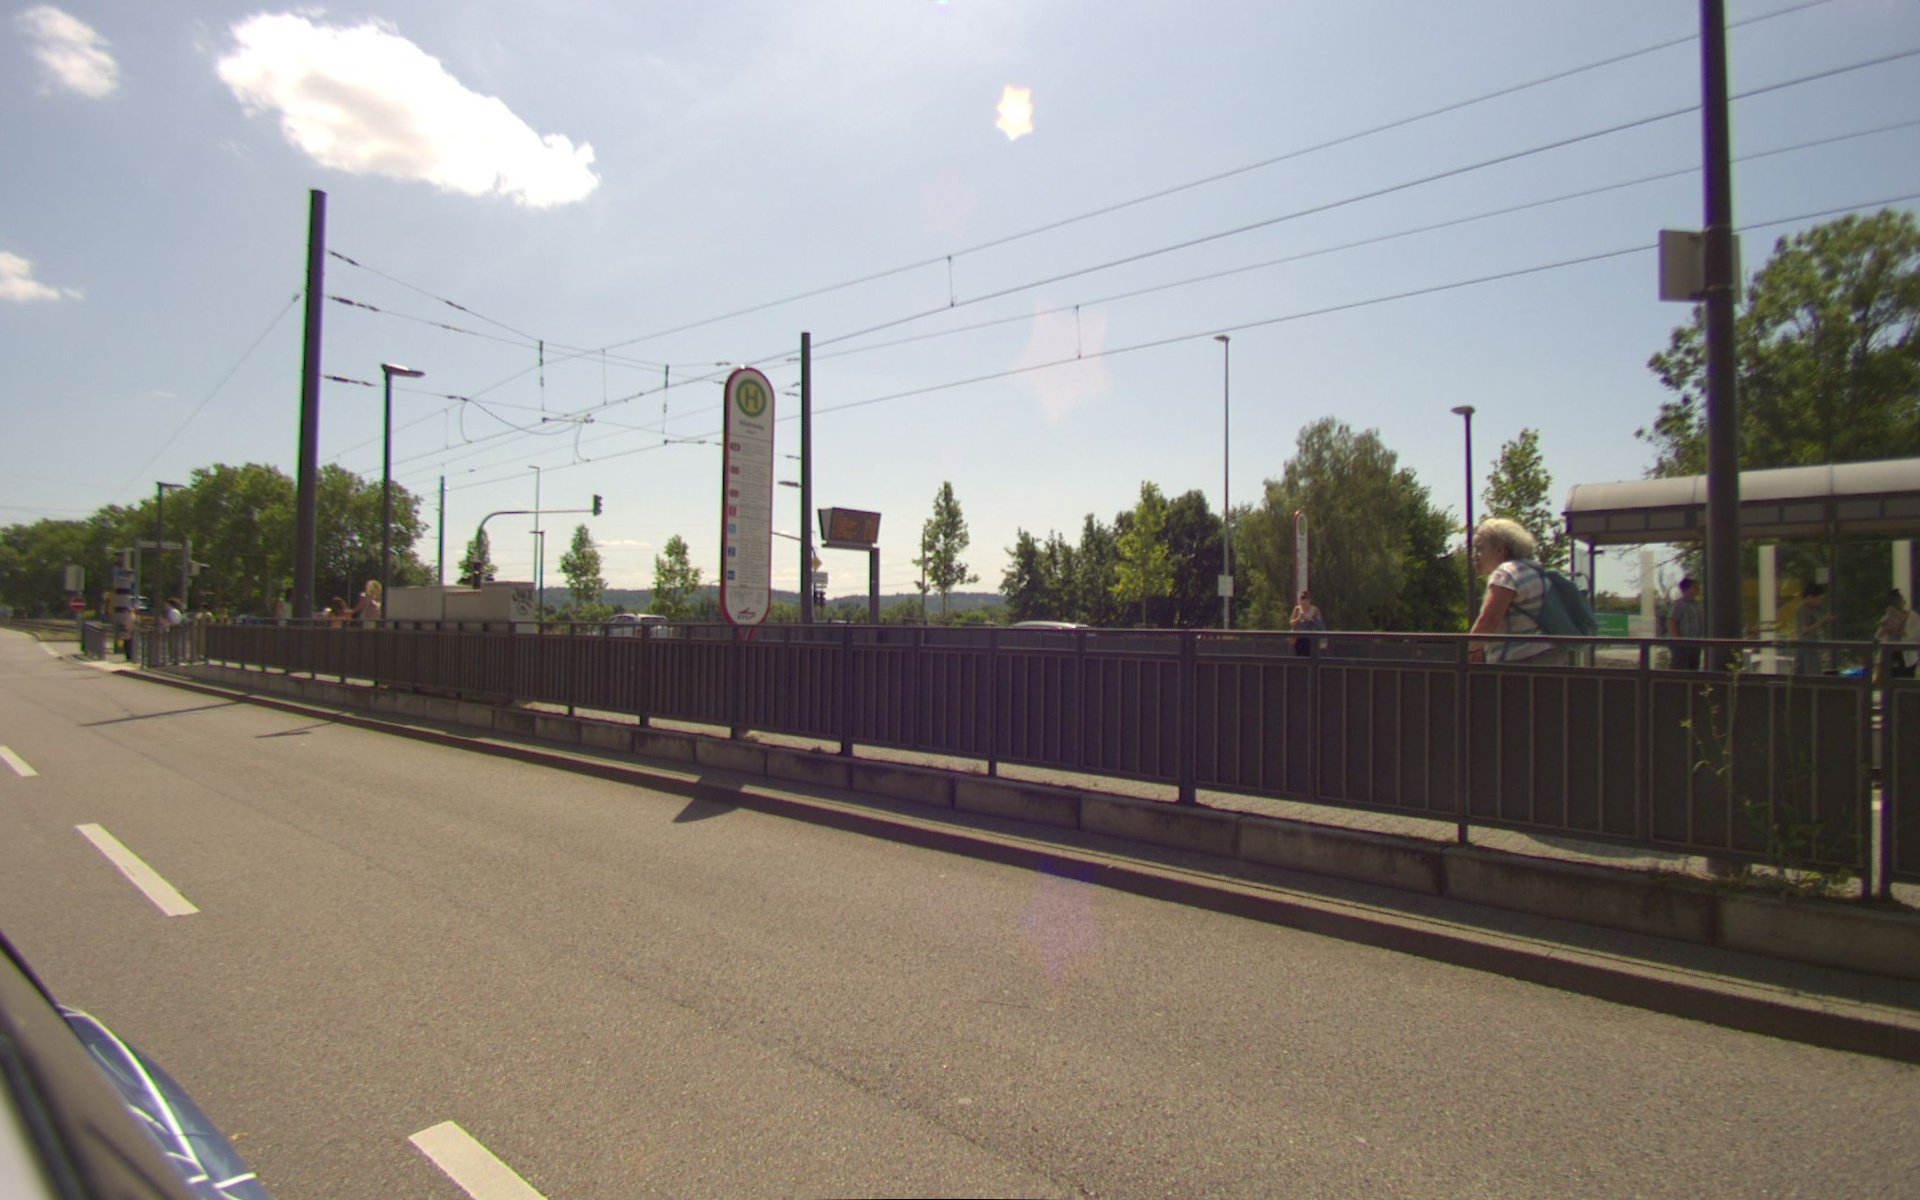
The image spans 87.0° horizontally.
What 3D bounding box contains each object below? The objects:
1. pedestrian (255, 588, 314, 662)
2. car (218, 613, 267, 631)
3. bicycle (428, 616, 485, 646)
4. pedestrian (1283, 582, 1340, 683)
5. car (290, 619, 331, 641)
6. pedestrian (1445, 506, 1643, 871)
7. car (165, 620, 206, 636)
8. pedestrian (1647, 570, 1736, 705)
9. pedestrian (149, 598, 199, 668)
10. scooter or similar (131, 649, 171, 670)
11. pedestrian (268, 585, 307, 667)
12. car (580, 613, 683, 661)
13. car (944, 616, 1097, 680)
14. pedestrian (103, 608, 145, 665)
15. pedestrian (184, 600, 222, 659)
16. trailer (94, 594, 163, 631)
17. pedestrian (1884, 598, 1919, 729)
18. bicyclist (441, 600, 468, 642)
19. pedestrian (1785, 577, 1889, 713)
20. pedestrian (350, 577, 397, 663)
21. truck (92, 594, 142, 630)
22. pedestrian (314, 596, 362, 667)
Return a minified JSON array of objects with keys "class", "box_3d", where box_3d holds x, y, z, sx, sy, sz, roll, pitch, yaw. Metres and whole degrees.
[{"class":"pedestrian","box_3d":[-15.057,0.552,22.564,0.924,1.617,0.881,-1,-2,41]},{"class":"car","box_3d":[-59.880,1.865,84.423,4.340,1.456,1.976,-1,-2,35]},{"class":"bicycle","box_3d":[-19.787,1.200,39.783,0.760,1.109,1.960,0,0,27]},{"class":"pedestrian","box_3d":[5.951,0.543,17.141,0.805,1.650,0.552,-1,-1,35]},{"class":"car","box_3d":[-48.473,2.233,75.492,1.969,1.642,4.315,1,-2,-41]},{"class":"pedestrian","box_3d":[2.997,0.415,5.191,0.742,1.678,0.725,-1,-2,41]},{"class":"car","box_3d":[-74.206,2.679,96.944,4.271,1.474,1.975,-1,-2,37]},{"class":"pedestrian","box_3d":[9.656,0.491,13.373,0.726,1.742,0.579,1,-2,-11]},{"class":"pedestrian","box_3d":[-20.798,0.861,26.787,0.882,1.816,0.854,-1,-1,38]},{"class":"scooter or similar","box_3d":[-21.004,1.538,26.273,0.457,0.509,0.719,-1,-2,39]},{"class":"pedestrian","box_3d":[-13.373,0.511,20.112,0.557,1.590,0.492,-1,-2,41]},{"class":"car","box_3d":[-12.227,1.329,37.586,4.001,1.641,1.971,0,0,44]},{"class":"car","box_3d":[1.687,1.308,28.814,3.998,1.641,1.973,0,-1,41]},{"class":"pedestrian","box_3d":[-24.046,1.034,29.105,0.764,1.584,0.777,-1,-1,39]},{"class":"pedestrian","box_3d":[-21.986,0.837,29.401,0.678,1.685,0.725,-1,-1,39]},{"class":"trailer","box_3d":[-92.882,1.449,112.885,15.468,3.900,3.083,-1,-2,40]},{"class":"pedestrian","box_3d":[11.497,0.750,12.106,0.639,1.545,0.570,-1,-2,43]},{"class":"bicyclist","box_3d":[-19.822,0.831,39.712,0.730,1.627,0.660,0,-1,26]},{"class":"pedestrian","box_3d":[10.978,0.560,12.684,0.815,1.651,0.579,1,-2,-10]},{"class":"pedestrian","box_3d":[-11.767,0.398,20.306,0.719,1.694,0.607,0,-1,40]},{"class":"truck","box_3d":[-98.291,1.433,117.949,7.468,4.069,3.094,-1,-1,39]},{"class":"pedestrian","box_3d":[-12.206,0.606,19.846,0.719,1.355,0.607,0,-1,40]}]
